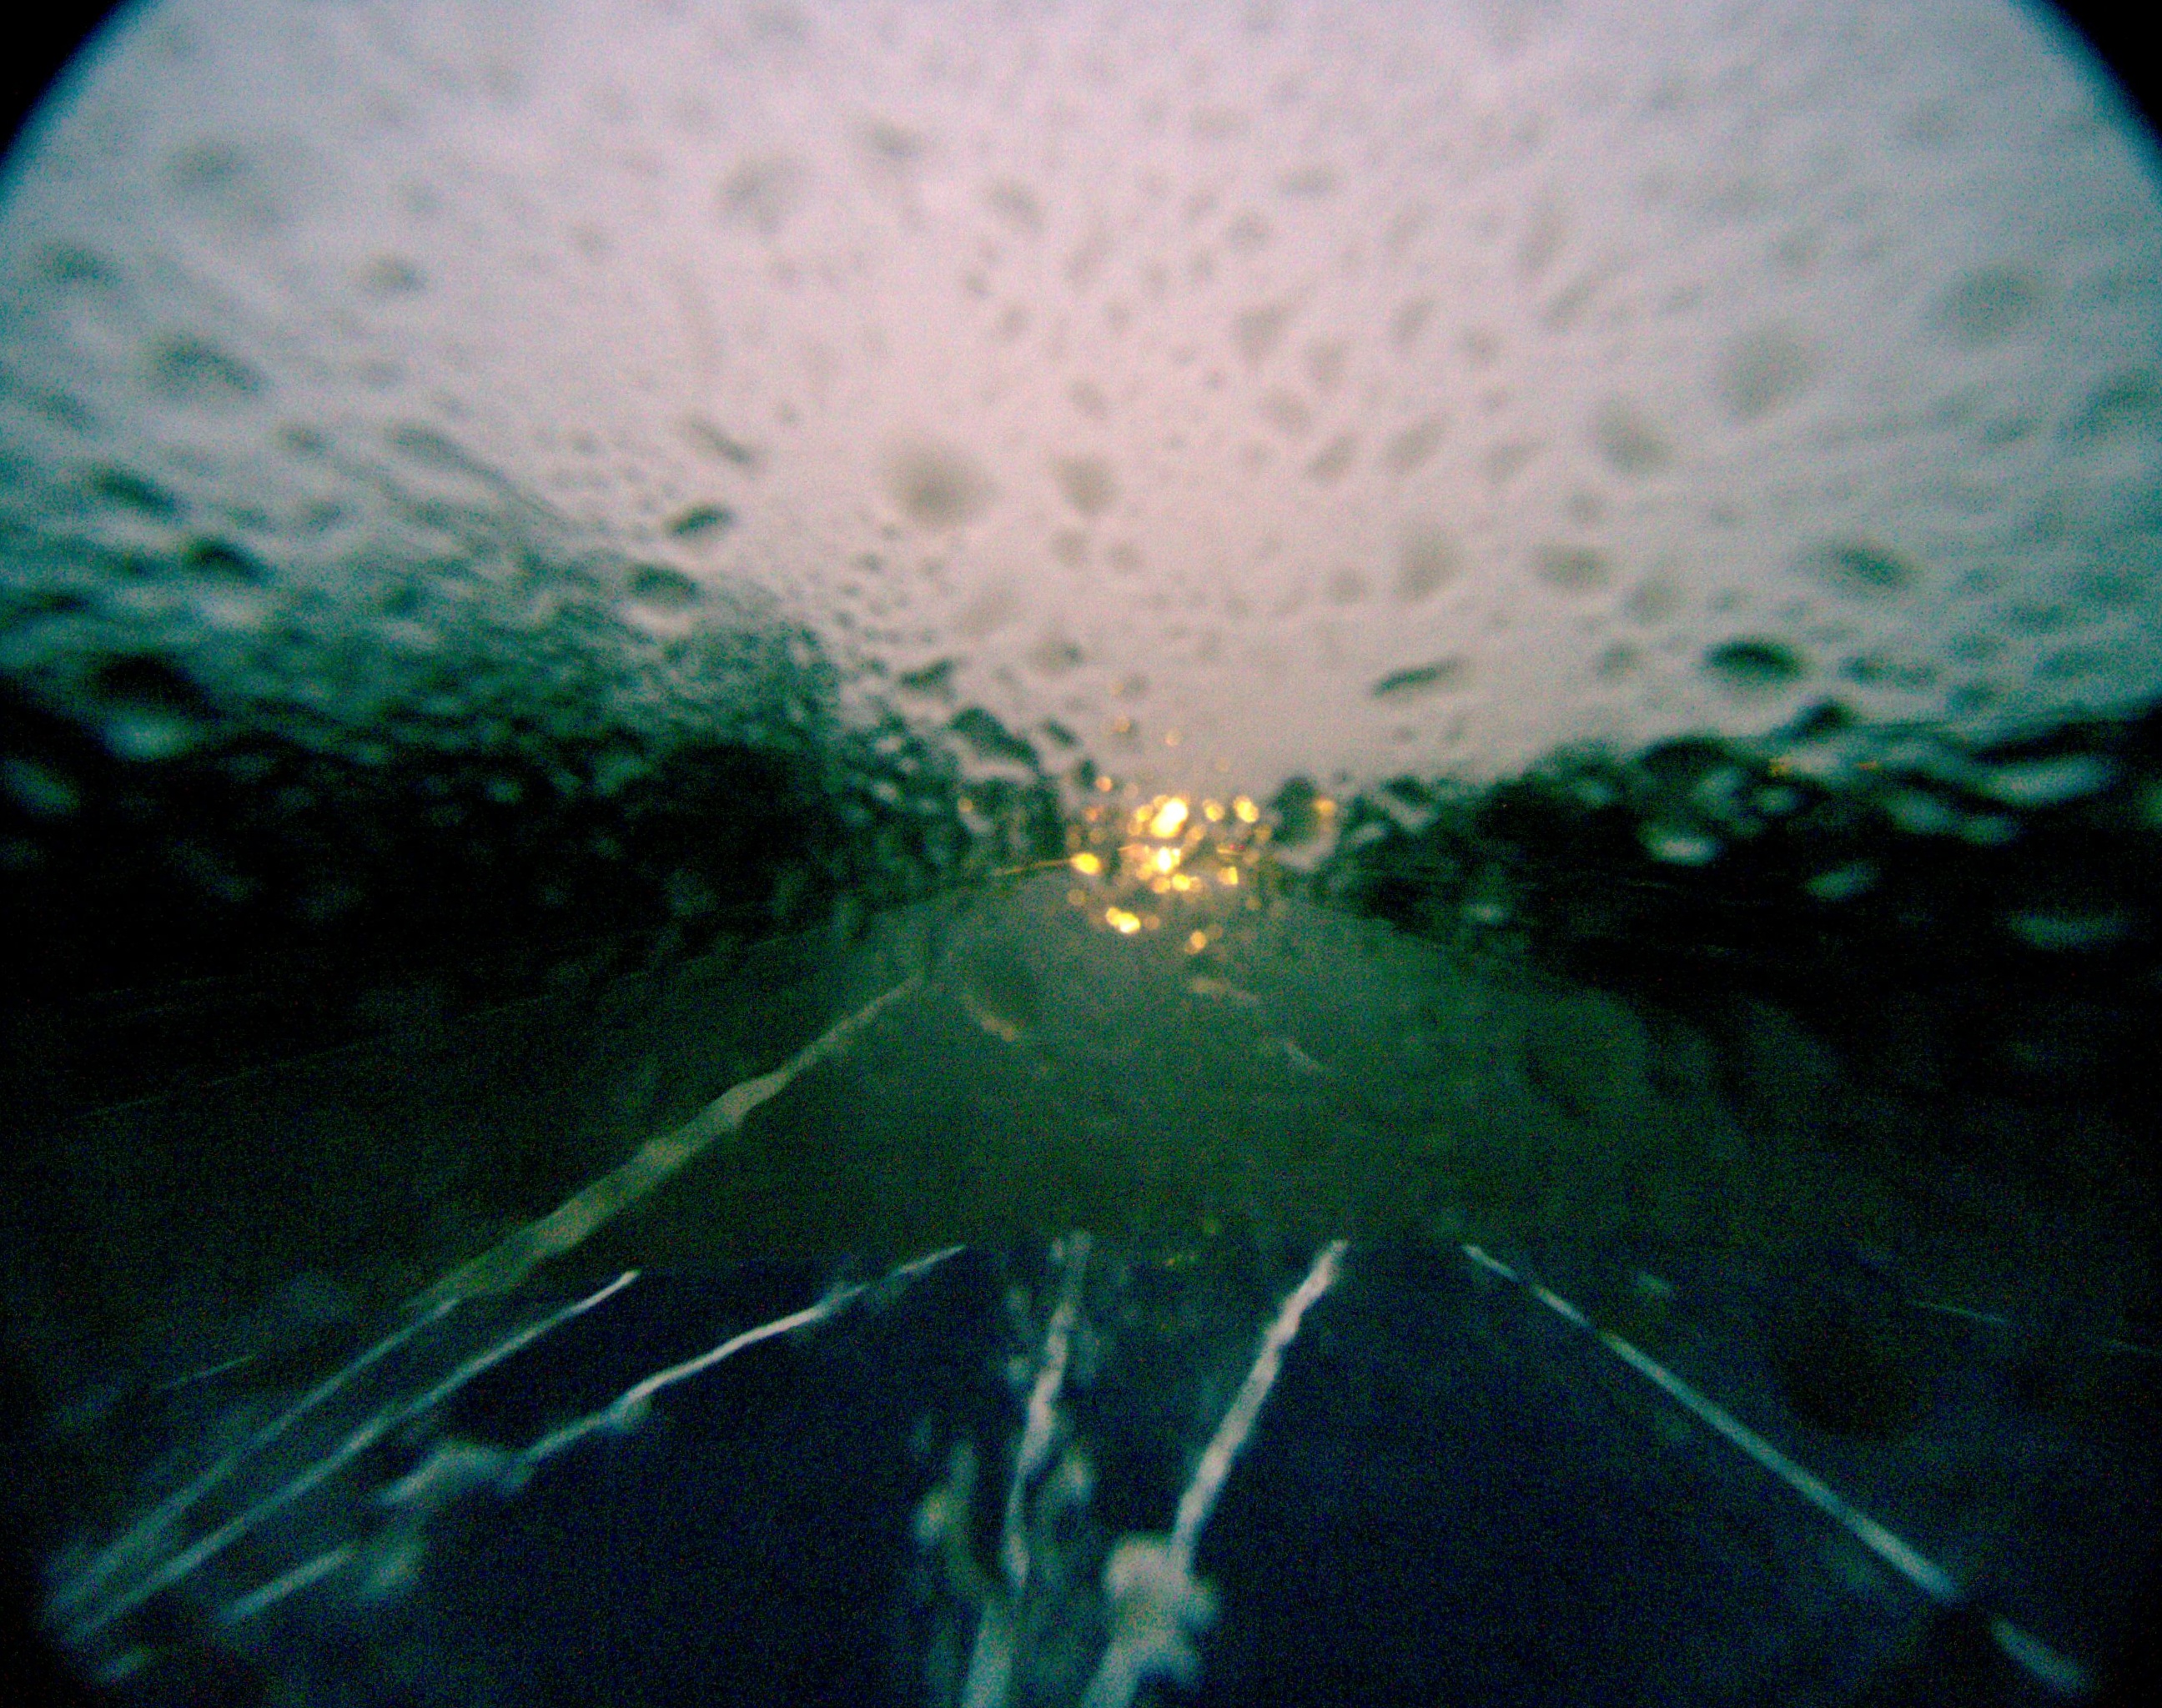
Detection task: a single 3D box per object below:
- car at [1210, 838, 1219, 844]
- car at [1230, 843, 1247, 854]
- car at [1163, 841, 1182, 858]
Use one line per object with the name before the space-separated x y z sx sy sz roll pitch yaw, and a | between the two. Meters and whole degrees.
car | 31.926 -3.113 181.911 1.706 1.467 4.366 -2 1 7
car | 23.907 -0.822 115.524 1.767 1.617 4.527 -1 1 3
car | 11.474 -0.614 95.367 1.998 2.002 4.001 -4 1 5
